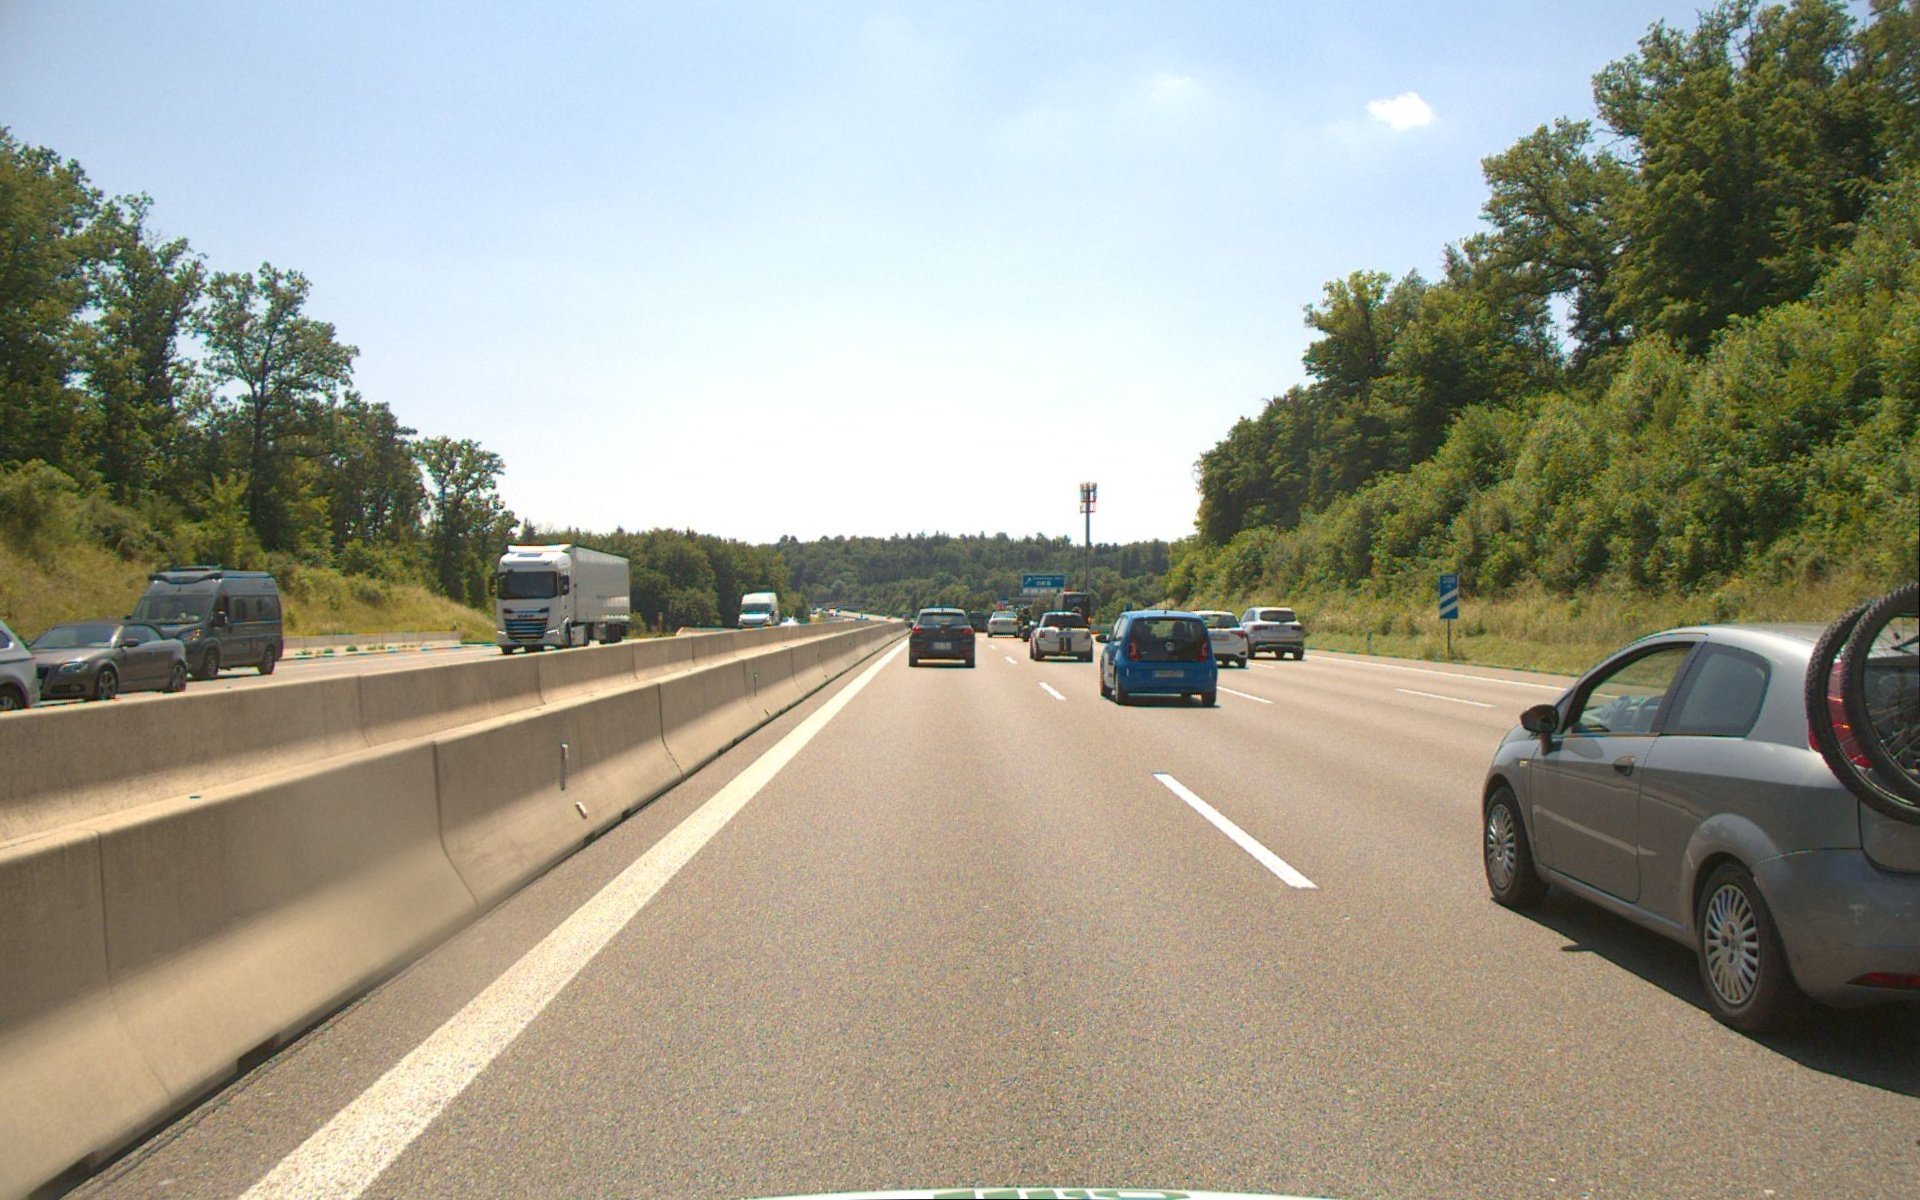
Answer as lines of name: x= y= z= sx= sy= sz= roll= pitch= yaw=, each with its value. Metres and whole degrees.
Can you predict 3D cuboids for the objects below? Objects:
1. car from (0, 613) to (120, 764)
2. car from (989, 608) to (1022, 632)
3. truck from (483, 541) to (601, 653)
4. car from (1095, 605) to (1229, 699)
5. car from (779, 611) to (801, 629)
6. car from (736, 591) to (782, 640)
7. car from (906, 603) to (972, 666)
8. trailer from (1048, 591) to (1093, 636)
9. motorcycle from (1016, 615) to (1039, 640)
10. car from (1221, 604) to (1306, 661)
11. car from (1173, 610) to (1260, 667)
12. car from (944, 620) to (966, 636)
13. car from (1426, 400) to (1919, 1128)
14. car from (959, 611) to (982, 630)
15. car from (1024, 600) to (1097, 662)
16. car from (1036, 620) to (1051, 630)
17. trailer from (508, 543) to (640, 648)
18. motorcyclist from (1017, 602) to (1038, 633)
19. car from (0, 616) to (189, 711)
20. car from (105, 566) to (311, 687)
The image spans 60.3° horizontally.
car: x=-10.789 y=0.909 z=16.582 sx=1.986 sy=1.532 sz=5.440 roll=-1 pitch=-1 yaw=0
car: x=2.566 y=1.139 z=94.180 sx=1.746 sy=1.287 sz=3.459 roll=0 pitch=0 yaw=-1
truck: x=-16.342 y=-0.101 z=65.205 sx=2.836 sy=4.140 sz=7.787 roll=0 pitch=0 yaw=-1
car: x=3.257 y=0.839 z=27.363 sx=1.702 sy=1.436 sz=3.999 roll=0 pitch=-1 yaw=0
car: x=-16.551 y=1.944 z=161.241 sx=1.708 sy=1.589 sz=4.422 roll=-2 pitch=-1 yaw=0
car: x=-12.477 y=0.980 z=103.102 sx=2.043 sy=2.849 sz=7.600 roll=-2 pitch=-1 yaw=-1
car: x=-0.532 y=0.840 z=42.442 sx=1.591 sy=1.513 sz=3.684 roll=1 pitch=0 yaw=-1
trailer: x=9.862 y=1.334 z=148.536 sx=2.799 sy=3.753 sz=13.537 roll=-1 pitch=-2 yaw=-1
motorcycle: x=3.241 y=1.312 z=79.411 sx=0.957 sy=1.149 sz=2.271 roll=-1 pitch=0 yaw=-1
car: x=9.955 y=1.047 z=54.607 sx=1.764 sy=1.761 sz=5.238 roll=1 pitch=0 yaw=-1
car: x=7.051 y=1.027 z=45.869 sx=1.632 sy=1.458 sz=4.374 roll=0 pitch=0 yaw=-2
car: x=-0.553 y=3.088 z=181.761 sx=1.955 sy=1.713 sz=4.419 roll=1 pitch=0 yaw=-5
car: x=3.670 y=0.482 z=7.160 sx=1.921 sy=2.089 sz=4.783 roll=1 pitch=0 yaw=0
car: x=1.026 y=2.014 z=162.785 sx=2.054 sy=1.884 sz=4.079 roll=0 pitch=-1 yaw=-1
car: x=2.905 y=0.951 z=48.533 sx=1.804 sy=1.579 sz=3.999 roll=3 pitch=-3 yaw=0
car: x=10.463 y=3.090 z=206.543 sx=1.576 sy=1.234 sz=3.458 roll=-1 pitch=-1 yaw=-2
trailer: x=-16.551 y=-0.125 z=72.157 sx=2.866 sy=4.156 sz=13.834 roll=0 pitch=0 yaw=-2
motorcyclist: x=3.223 y=0.830 z=79.296 sx=0.942 sy=1.463 sz=1.235 roll=-1 pitch=-1 yaw=0
car: x=-14.811 y=1.005 z=27.854 sx=1.633 sy=1.432 sz=4.439 roll=0 pitch=0 yaw=-1
car: x=-18.667 y=0.631 z=41.521 sx=2.097 sy=2.710 sz=6.778 roll=-2 pitch=0 yaw=-1
